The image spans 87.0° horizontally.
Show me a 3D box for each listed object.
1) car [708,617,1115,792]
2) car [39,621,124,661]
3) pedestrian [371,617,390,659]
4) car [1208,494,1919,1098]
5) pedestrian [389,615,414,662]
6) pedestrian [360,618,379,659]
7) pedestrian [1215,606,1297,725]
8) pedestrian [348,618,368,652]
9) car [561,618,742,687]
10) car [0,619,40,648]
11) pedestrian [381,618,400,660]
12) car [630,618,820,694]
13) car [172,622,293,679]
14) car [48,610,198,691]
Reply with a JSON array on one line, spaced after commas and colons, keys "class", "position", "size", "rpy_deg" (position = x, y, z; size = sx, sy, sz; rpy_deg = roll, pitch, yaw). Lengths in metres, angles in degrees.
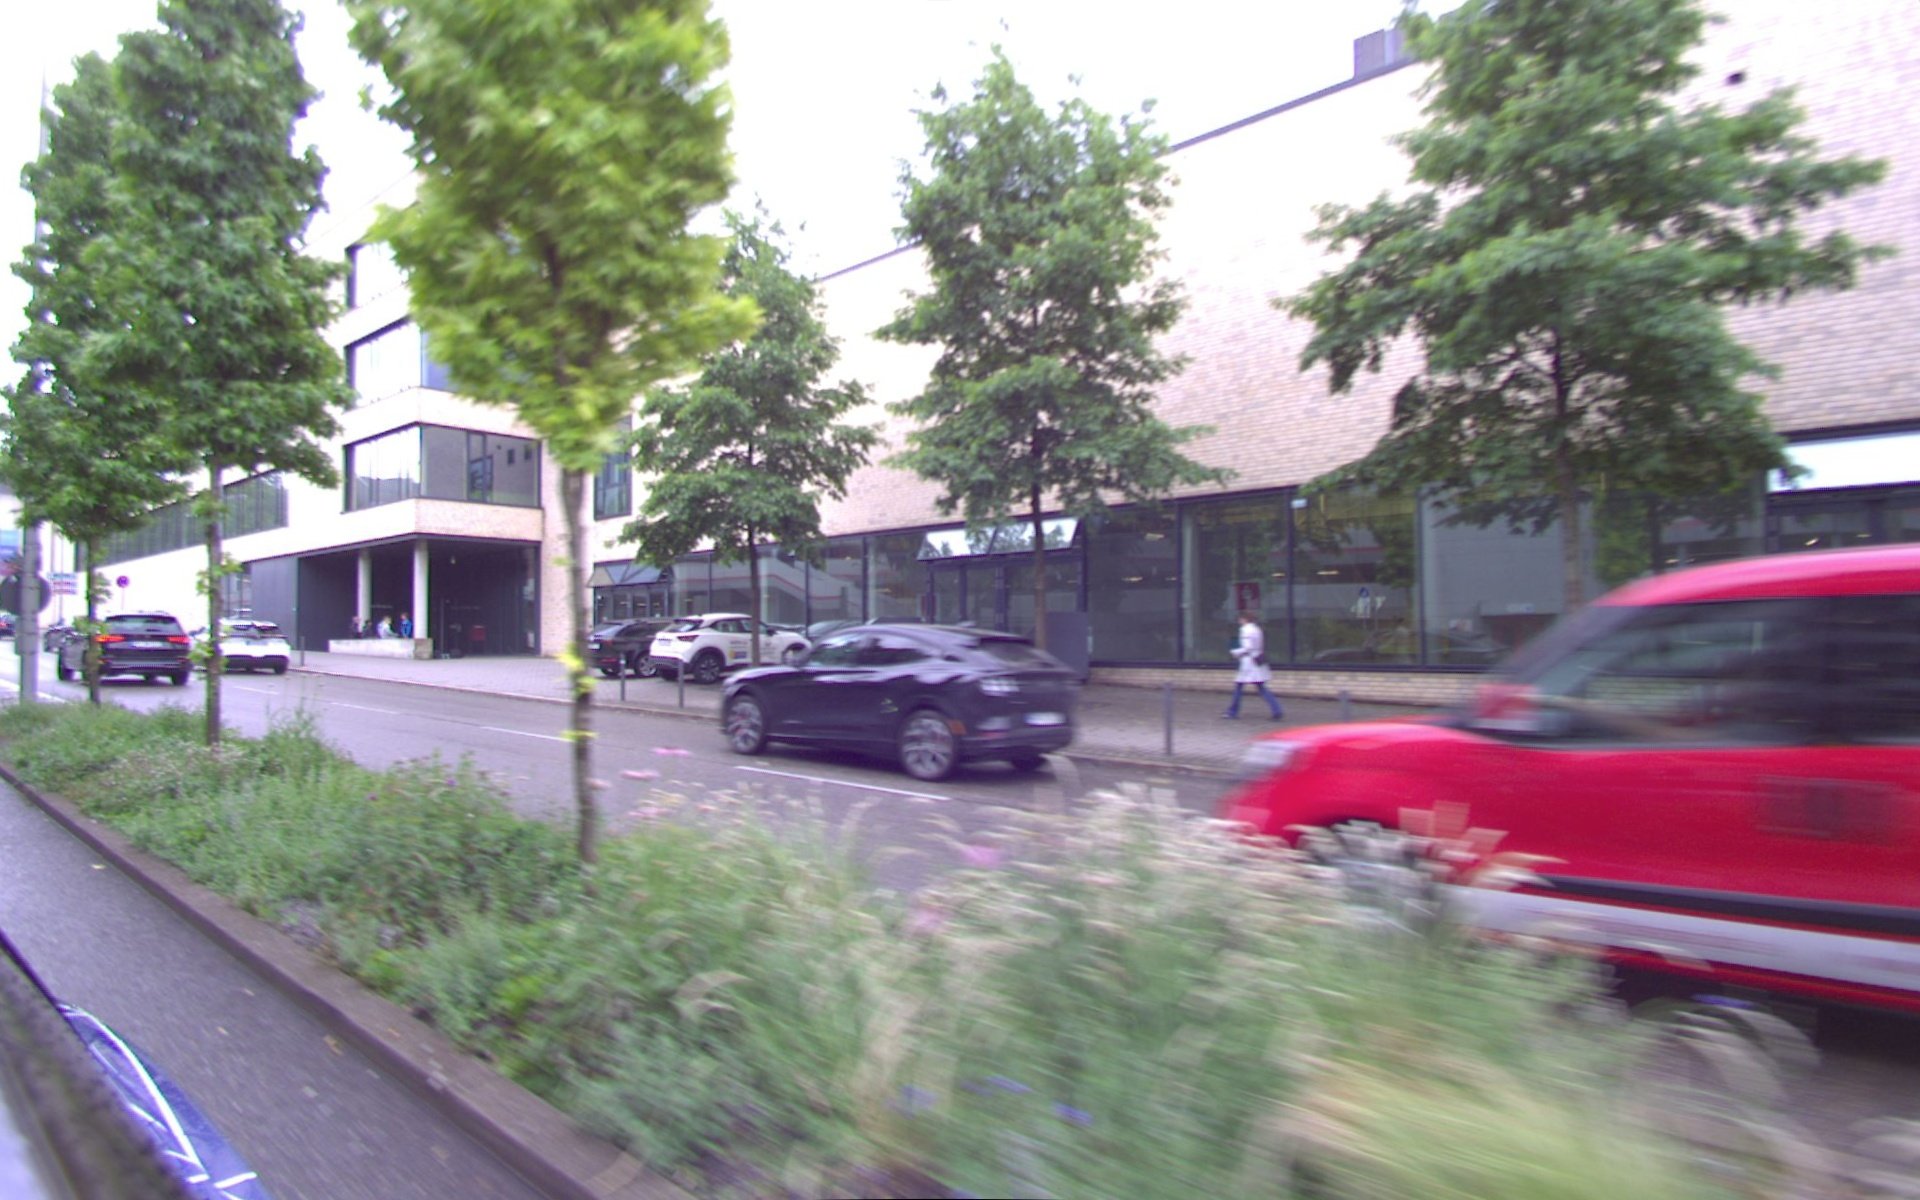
[{"class": "car", "position": [-0.695, 1.032, 11.455], "size": [4.533, 1.599, 1.869], "rpy_deg": [-1, -4, 40]}, {"class": "car", "position": [-33.703, 1.540, 38.777], "size": [4.195, 1.404, 1.715], "rpy_deg": [0, -4, 39]}, {"class": "pedestrian", "position": [-21.113, 1.385, 36.889], "size": [0.463, 1.486, 0.445], "rpy_deg": [0, 1, 37]}, {"class": "car", "position": [3.554, 0.650, 3.827], "size": [4.788, 1.868, 1.774], "rpy_deg": [-1, -4, 40]}, {"class": "pedestrian", "position": [-21.036, 1.439, 38.115], "size": [0.704, 1.727, 0.628], "rpy_deg": [0, 1, 41]}, {"class": "pedestrian", "position": [-21.876, 1.437, 37.487], "size": [0.463, 1.486, 0.445], "rpy_deg": [0, 1, 37]}, {"class": "pedestrian", "position": [4.394, 0.942, 15.008], "size": [1.017, 1.678, 0.637], "rpy_deg": [0, 1, 36]}, {"class": "pedestrian", "position": [-22.677, 1.316, 38.106], "size": [0.422, 1.224, 0.542], "rpy_deg": [0, 1, 44]}, {"class": "car", "position": [-7.870, 1.280, 26.166], "size": [1.996, 1.506, 4.140], "rpy_deg": [0, 1, 35]}, {"class": "car", "position": [-50.349, 1.767, 53.696], "size": [3.968, 1.423, 1.727], "rpy_deg": [0, -4, 40]}, {"class": "pedestrian", "position": [-20.531, 1.393, 36.485], "size": [0.528, 1.486, 0.437], "rpy_deg": [0, 1, 37]}, {"class": "car", "position": [-5.664, 1.283, 24.726], "size": [2.000, 1.559, 4.130], "rpy_deg": [0, 1, 43]}, {"class": "car", "position": [-20.794, 1.418, 28.889], "size": [4.227, 1.480, 1.715], "rpy_deg": [-1, -4, 39]}, {"class": "car", "position": [-18.666, 1.094, 22.506], "size": [4.227, 1.638, 1.715], "rpy_deg": [-1, -4, 39]}]
